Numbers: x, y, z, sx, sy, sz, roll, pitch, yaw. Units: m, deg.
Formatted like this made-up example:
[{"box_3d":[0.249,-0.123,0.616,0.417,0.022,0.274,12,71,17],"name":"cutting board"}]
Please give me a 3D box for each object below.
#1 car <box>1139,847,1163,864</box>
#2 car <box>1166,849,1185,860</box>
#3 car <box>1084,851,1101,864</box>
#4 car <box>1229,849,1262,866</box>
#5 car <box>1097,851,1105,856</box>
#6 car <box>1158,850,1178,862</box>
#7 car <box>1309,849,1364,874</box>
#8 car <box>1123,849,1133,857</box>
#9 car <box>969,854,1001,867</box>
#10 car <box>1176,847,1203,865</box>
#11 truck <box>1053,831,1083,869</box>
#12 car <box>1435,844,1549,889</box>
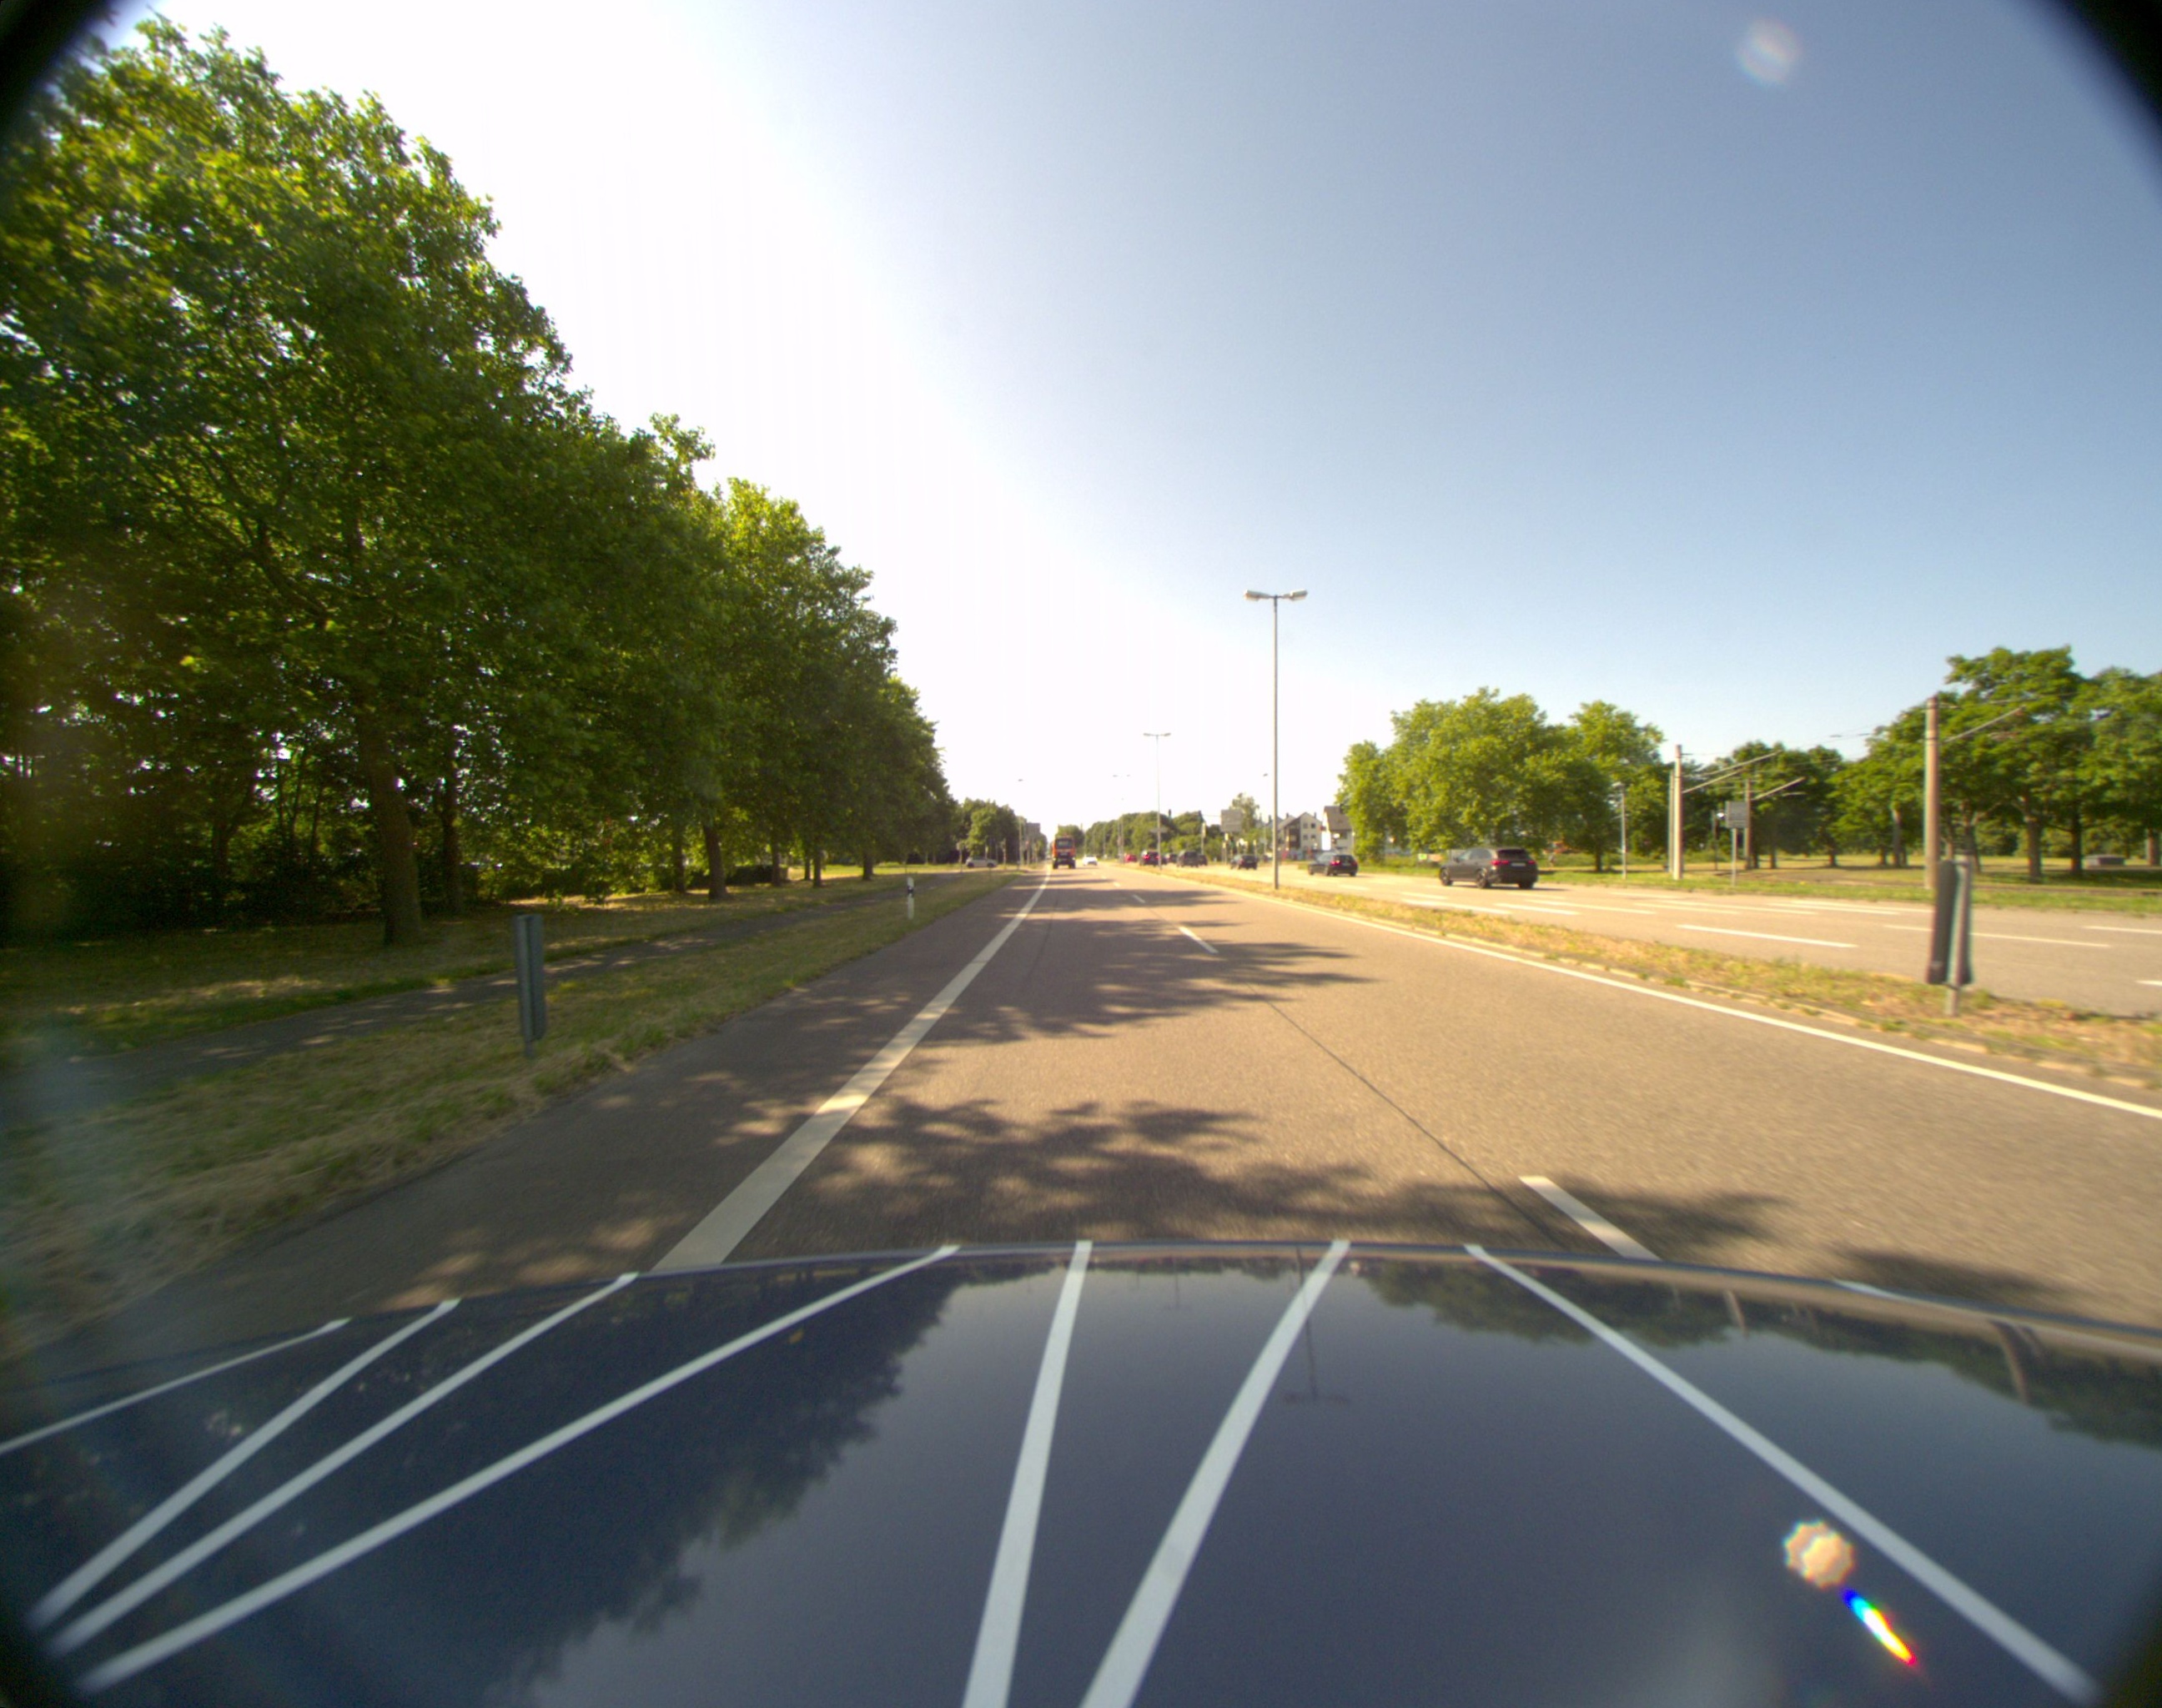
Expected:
[{"box_3d":[7.396,0.184,80.376,1.986,1.740,4.506,0,0,-2],"name":"car"},{"box_3d":[13.851,0.067,111.588,2.077,1.613,4.488,0,0,-3],"name":"car"},{"box_3d":[1.526,0.450,99.513,1.869,1.499,4.335,-2,0,-3],"name":"car"},{"box_3d":[14.857,0.309,68.963,1.867,1.536,4.405,0,0,-2],"name":"car"},{"box_3d":[5.509,-0.178,213.451,1.986,1.449,4.331,-2,0,-1],"name":"car"},{"box_3d":[10.918,0.276,95.983,1.986,1.449,4.449,1,0,-1],"name":"car"},{"box_3d":[15.850,0.462,47.408,1.836,1.457,4.468,-1,0,-2],"name":"car"},{"box_3d":[10.467,-0.286,169.101,1.709,1.759,4.227,0,0,-6],"name":"car"},{"box_3d":[-12.639,0.831,100.355,4.063,1.555,1.742,-1,1,-3],"name":"car"},{"box_3d":[11.311,0.221,79.757,1.987,1.769,4.488,-1,0,-3],"name":"car"},{"box_3d":[-1.441,-0.431,82.932,2.941,3.853,6.589,-3,1,-2],"name":"truck"},{"box_3d":[16.137,0.452,30.150,1.987,1.650,4.554,-1,0,-1],"name":"car"}]
